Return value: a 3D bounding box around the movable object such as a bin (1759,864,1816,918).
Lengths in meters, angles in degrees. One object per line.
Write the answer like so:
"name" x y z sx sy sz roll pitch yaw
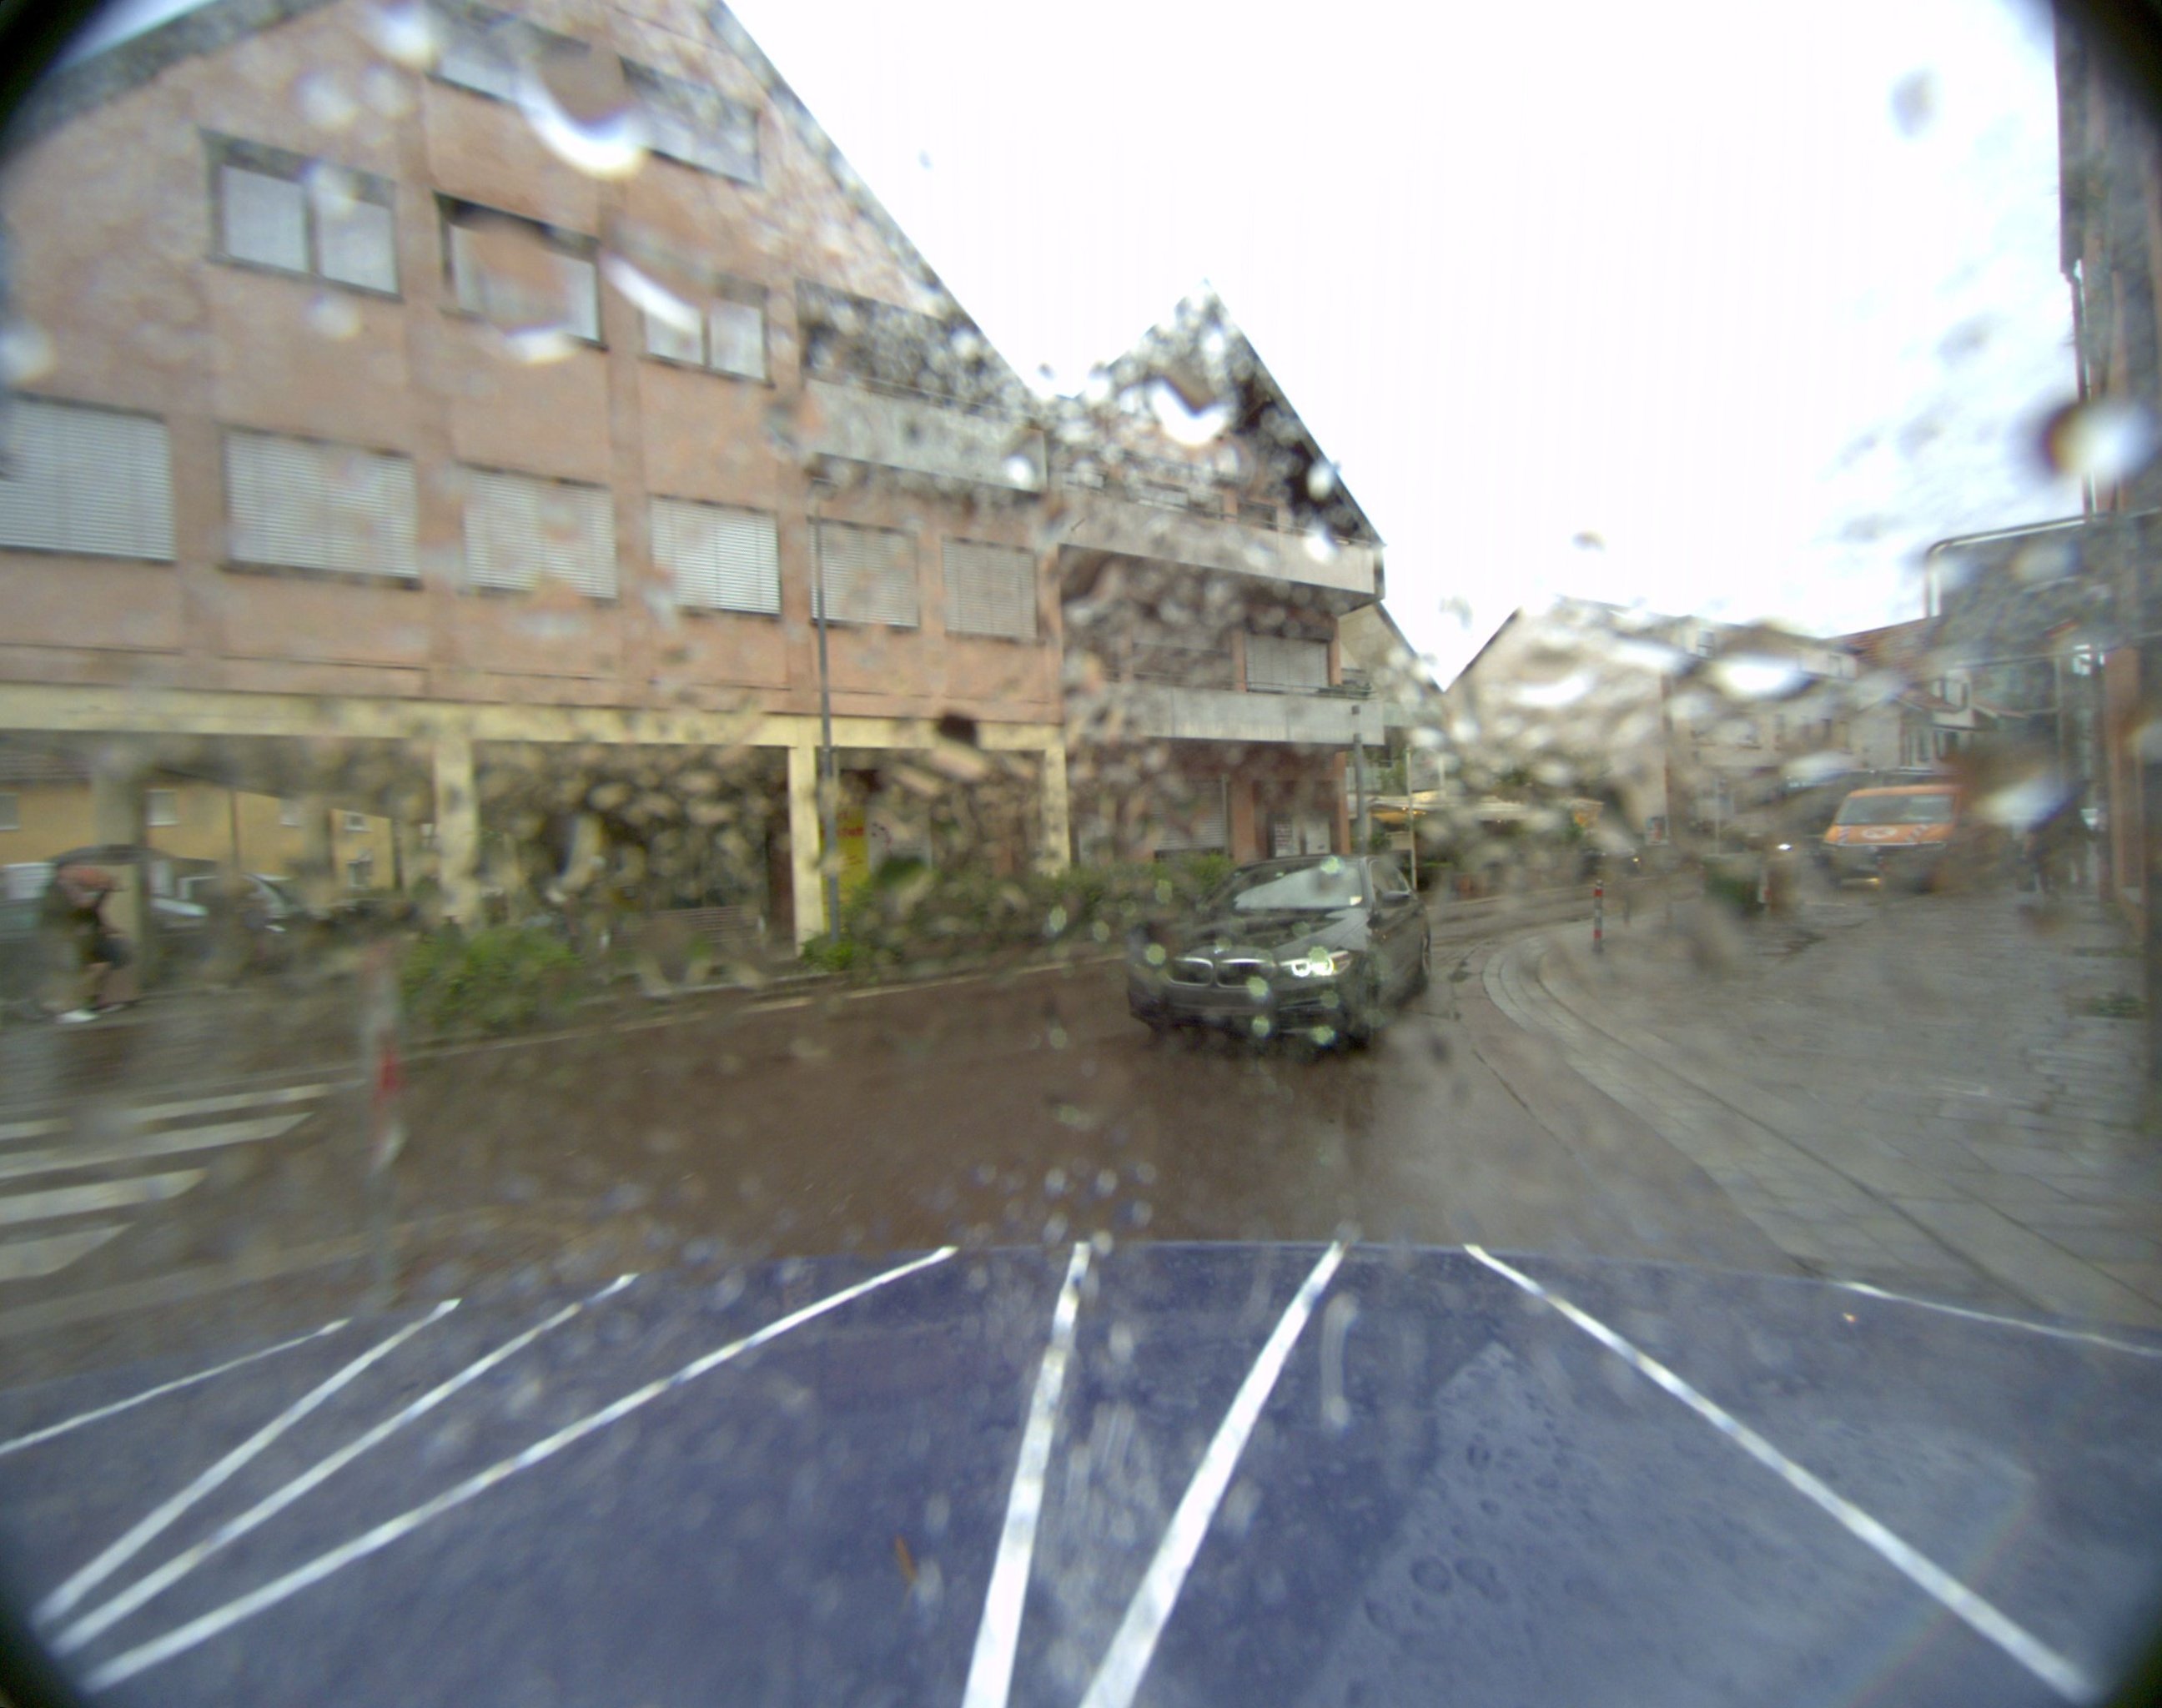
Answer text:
"movable object such as a bin" 12.754 0.662 13.720 0.482 0.921 0.582 -3 -1 -28

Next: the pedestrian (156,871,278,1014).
"pedestrian" -10.833 1.072 9.563 0.743 1.680 0.634 -3 1 -25

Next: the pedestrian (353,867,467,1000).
"pedestrian" -8.701 0.995 9.896 0.826 1.595 0.743 -2 3 -22

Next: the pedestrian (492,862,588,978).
"pedestrian" -7.958 0.951 11.201 0.707 1.609 0.797 -2 1 13

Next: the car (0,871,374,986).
"car" -13.368 1.014 10.807 4.477 1.268 1.765 -3 1 -26

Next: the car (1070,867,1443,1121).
"car" 1.980 0.955 7.168 1.943 1.394 4.428 -2 1 33

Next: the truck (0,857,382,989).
"truck" -14.923 1.044 12.956 4.005 1.798 1.765 -3 1 -26

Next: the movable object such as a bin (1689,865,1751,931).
"movable object such as a bin" 10.657 0.718 12.669 0.611 1.030 0.657 -4 1 -38

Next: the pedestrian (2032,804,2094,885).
"pedestrian" 20.619 -0.194 15.953 0.747 1.630 0.715 -4 0 -36

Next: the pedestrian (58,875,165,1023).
"pedestrian" -11.503 1.096 9.034 0.521 1.654 0.541 -3 1 -25

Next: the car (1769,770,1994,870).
"car" 26.718 -1.097 25.244 8.856 2.857 2.706 -2 0 -27

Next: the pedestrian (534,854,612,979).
"pedestrian" -7.212 0.853 10.817 0.734 1.680 0.723 -3 1 -25

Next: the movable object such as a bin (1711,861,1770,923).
"movable object such as a bin" 11.645 0.665 13.421 0.611 1.031 0.657 -4 1 -38

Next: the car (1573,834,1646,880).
"car" 17.882 0.080 25.647 1.734 1.349 3.944 -2 1 39

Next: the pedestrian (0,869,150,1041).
"pedestrian" -11.120 1.054 8.305 0.893 1.738 0.734 -3 1 -26

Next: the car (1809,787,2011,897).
"car" 19.512 -0.352 17.802 5.869 2.227 1.995 -3 1 -30

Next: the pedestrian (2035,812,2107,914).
"pedestrian" 16.105 0.140 12.374 0.685 1.600 0.660 -3 1 -39

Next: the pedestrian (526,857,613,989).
"pedestrian" -6.835 0.891 10.204 0.822 1.652 0.697 -3 1 -28
